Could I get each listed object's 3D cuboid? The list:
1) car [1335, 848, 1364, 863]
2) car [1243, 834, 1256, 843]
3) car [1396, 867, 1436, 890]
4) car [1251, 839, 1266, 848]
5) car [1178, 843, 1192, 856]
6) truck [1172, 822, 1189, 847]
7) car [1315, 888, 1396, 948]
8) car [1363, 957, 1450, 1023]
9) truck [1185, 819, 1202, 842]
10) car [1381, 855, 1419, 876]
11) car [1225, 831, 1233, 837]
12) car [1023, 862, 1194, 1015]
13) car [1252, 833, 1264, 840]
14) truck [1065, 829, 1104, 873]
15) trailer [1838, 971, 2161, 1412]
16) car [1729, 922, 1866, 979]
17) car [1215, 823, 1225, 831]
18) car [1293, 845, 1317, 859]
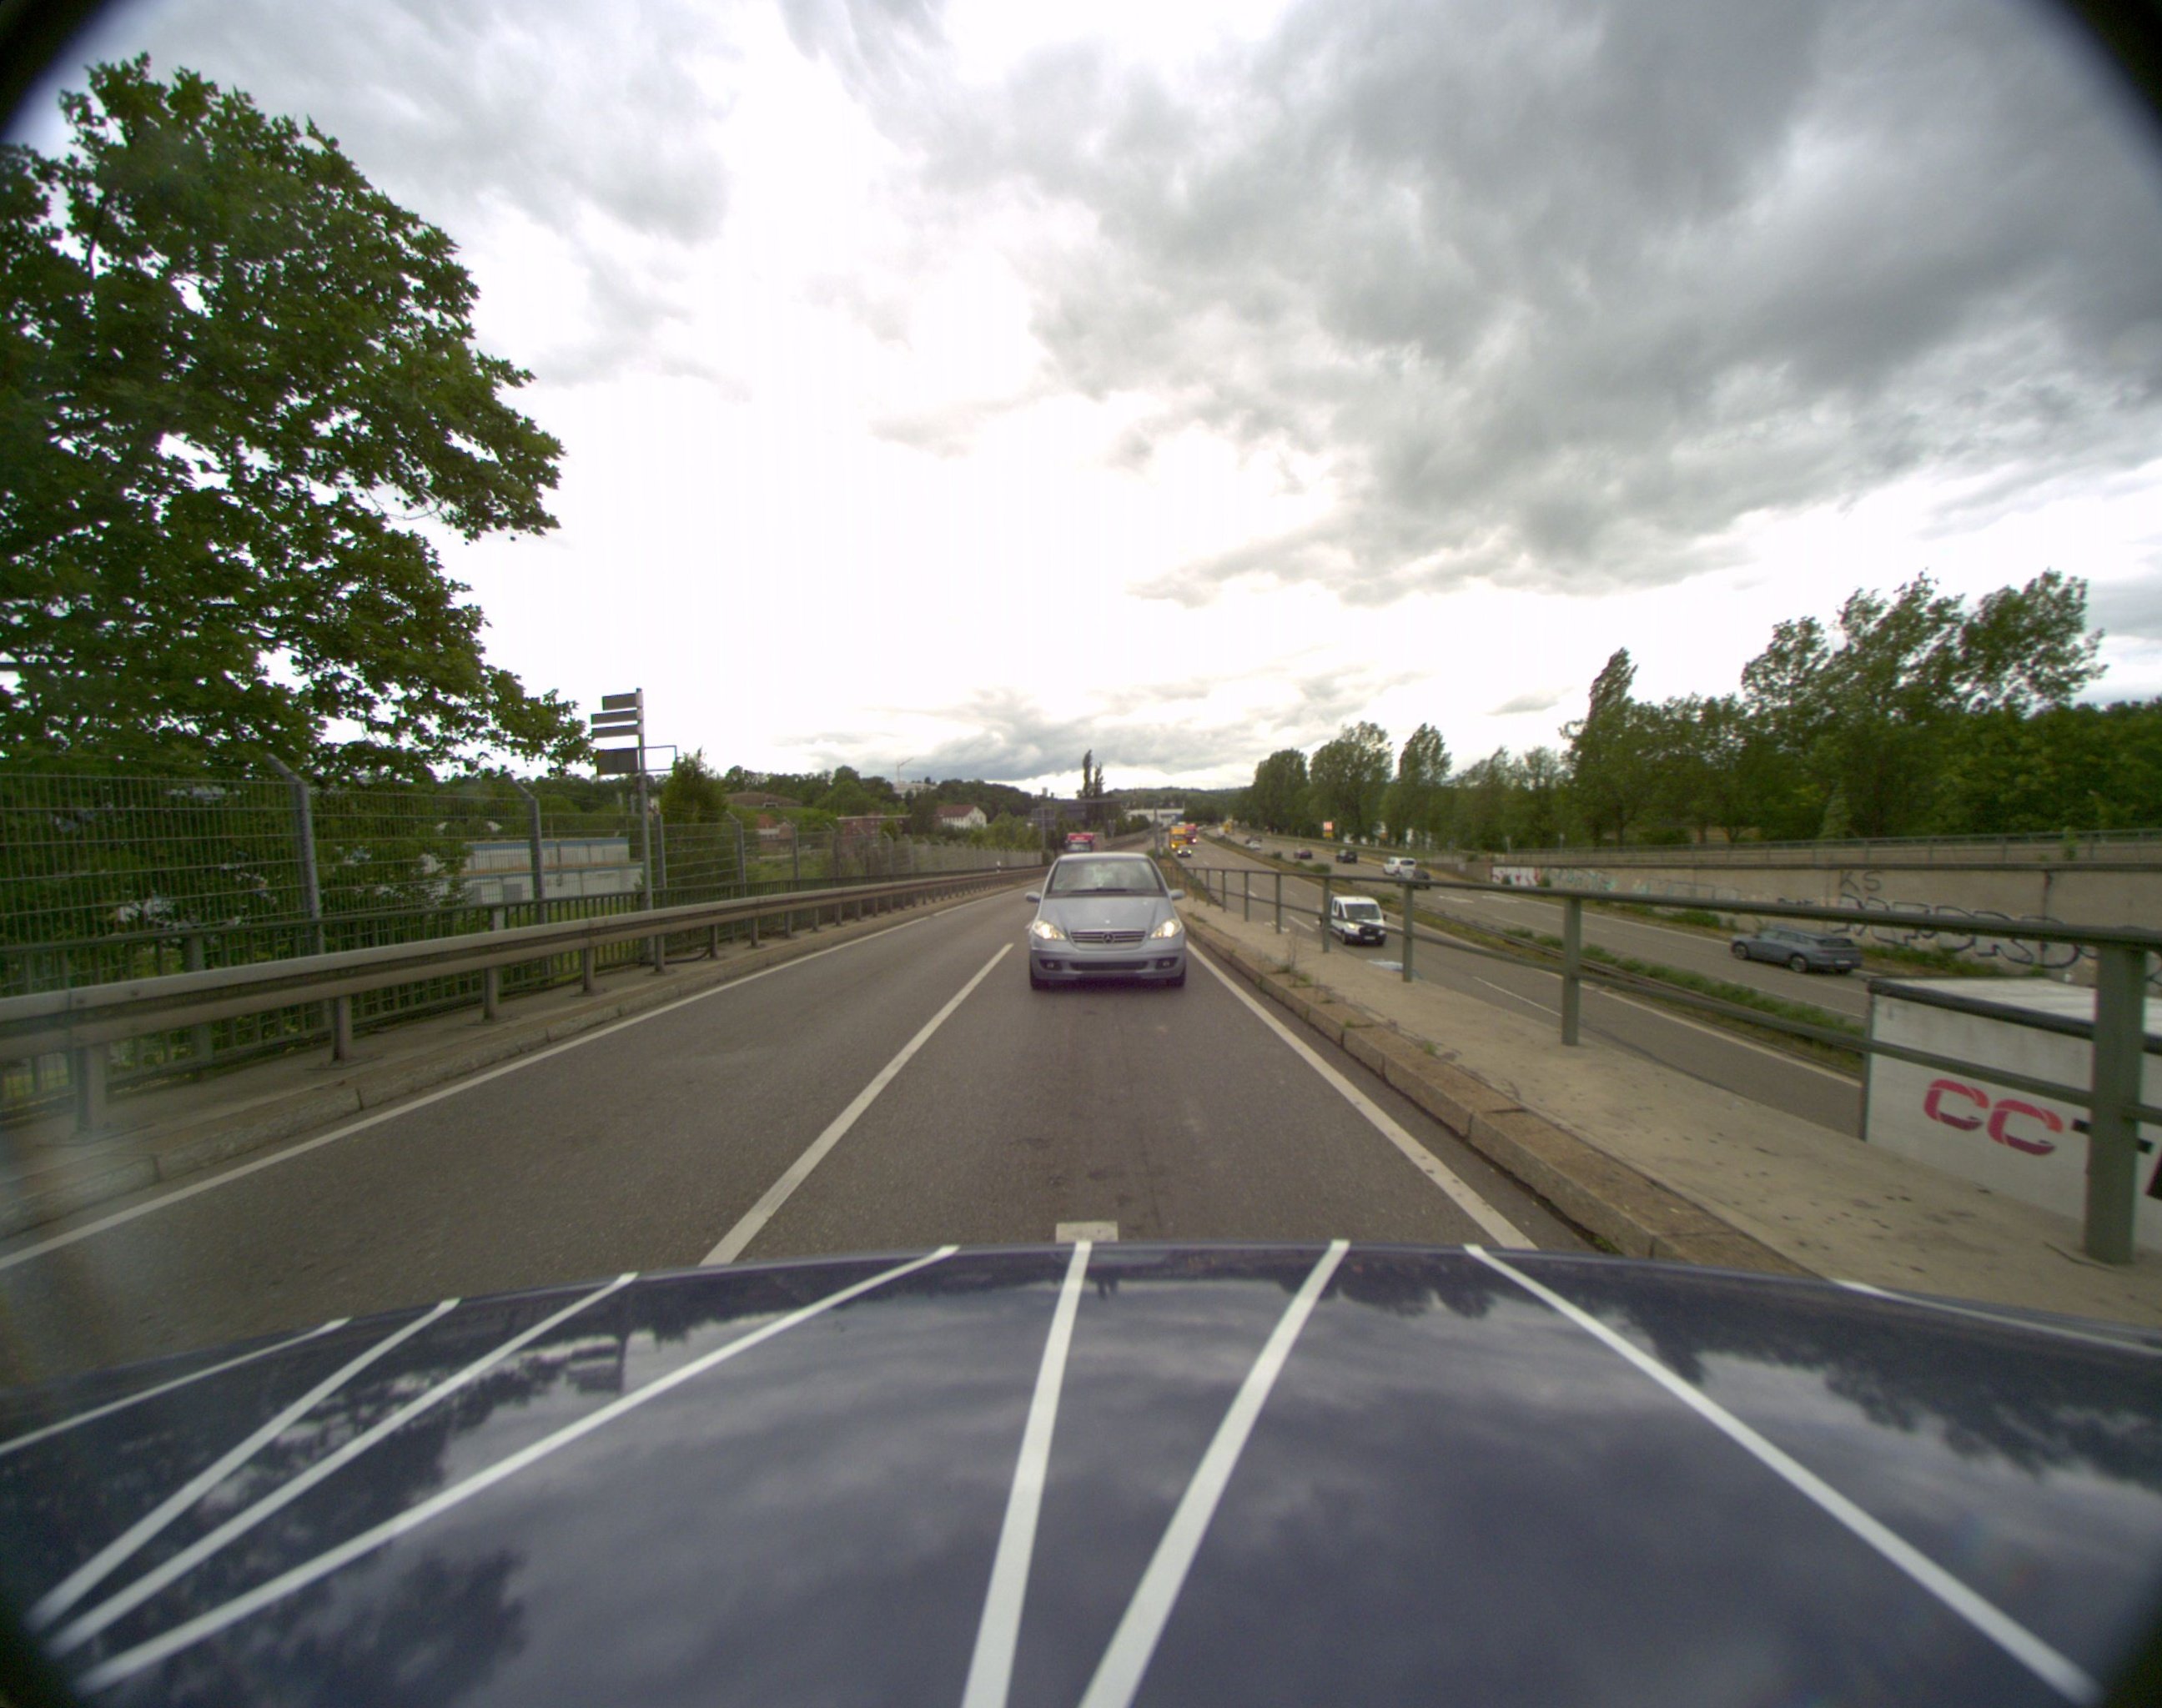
[{"bbox_3d":[34.447,0.188,97.622,1.998,1.617,4.576,1,3,1],"label":"car"},{"bbox_3d":[35.626,-3.285,160.858,1.886,1.709,4.180,0,3,3],"label":"car"},{"bbox_3d":[28.815,2.104,65.500,1.669,1.612,3.998,0,3,1],"label":"car"},{"bbox_3d":[31.412,-1.842,134.676,1.778,1.486,3.896,1,3,3],"label":"car"},{"bbox_3d":[15.401,-0.685,112.918,1.810,1.658,3.999,0,3,4],"label":"car"},{"bbox_3d":[17.356,-3.496,133.215,2.415,4.100,8.168,0,4,4],"label":"truck"},{"bbox_3d":[14.282,3.258,40.036,2.104,2.231,6.498,0,3,3],"label":"car"},{"bbox_3d":[10.786,4.473,25.420,1.512,1.365,3.536,0,3,3],"label":"car"},{"bbox_3d":[24.246,-5.111,163.813,2.754,4.713,9.916,1,3,4],"label":"truck"},{"bbox_3d":[32.717,1.162,78.071,1.952,1.897,4.907,0,3,1],"label":"car"},{"bbox_3d":[37.766,-5.144,193.623,1.717,1.446,3.650,0,3,6],"label":"car"},{"bbox_3d":[0.311,0.888,9.761,1.743,1.534,3.992,0,0,1],"label":"car"},{"bbox_3d":[40.384,-4.015,173.356,1.864,1.643,4.632,0,3,4],"label":"car"},{"bbox_3d":[0.453,-0.438,74.600,3.101,3.988,8.490,-1,2,5],"label":"truck"},{"bbox_3d":[13.215,4.230,4.760,3.010,4.087,13.981,0,3,1],"label":"trailer"},{"bbox_3d":[29.969,3.987,31.999,1.715,1.661,4.252,0,3,1],"label":"car"},{"bbox_3d":[44.036,-8.533,241.370,2.172,2.580,6.099,0,3,1],"label":"car"},{"bbox_3d":[31.433,-0.292,106.644,1.998,1.617,4.576,1,3,1],"label":"car"}]
